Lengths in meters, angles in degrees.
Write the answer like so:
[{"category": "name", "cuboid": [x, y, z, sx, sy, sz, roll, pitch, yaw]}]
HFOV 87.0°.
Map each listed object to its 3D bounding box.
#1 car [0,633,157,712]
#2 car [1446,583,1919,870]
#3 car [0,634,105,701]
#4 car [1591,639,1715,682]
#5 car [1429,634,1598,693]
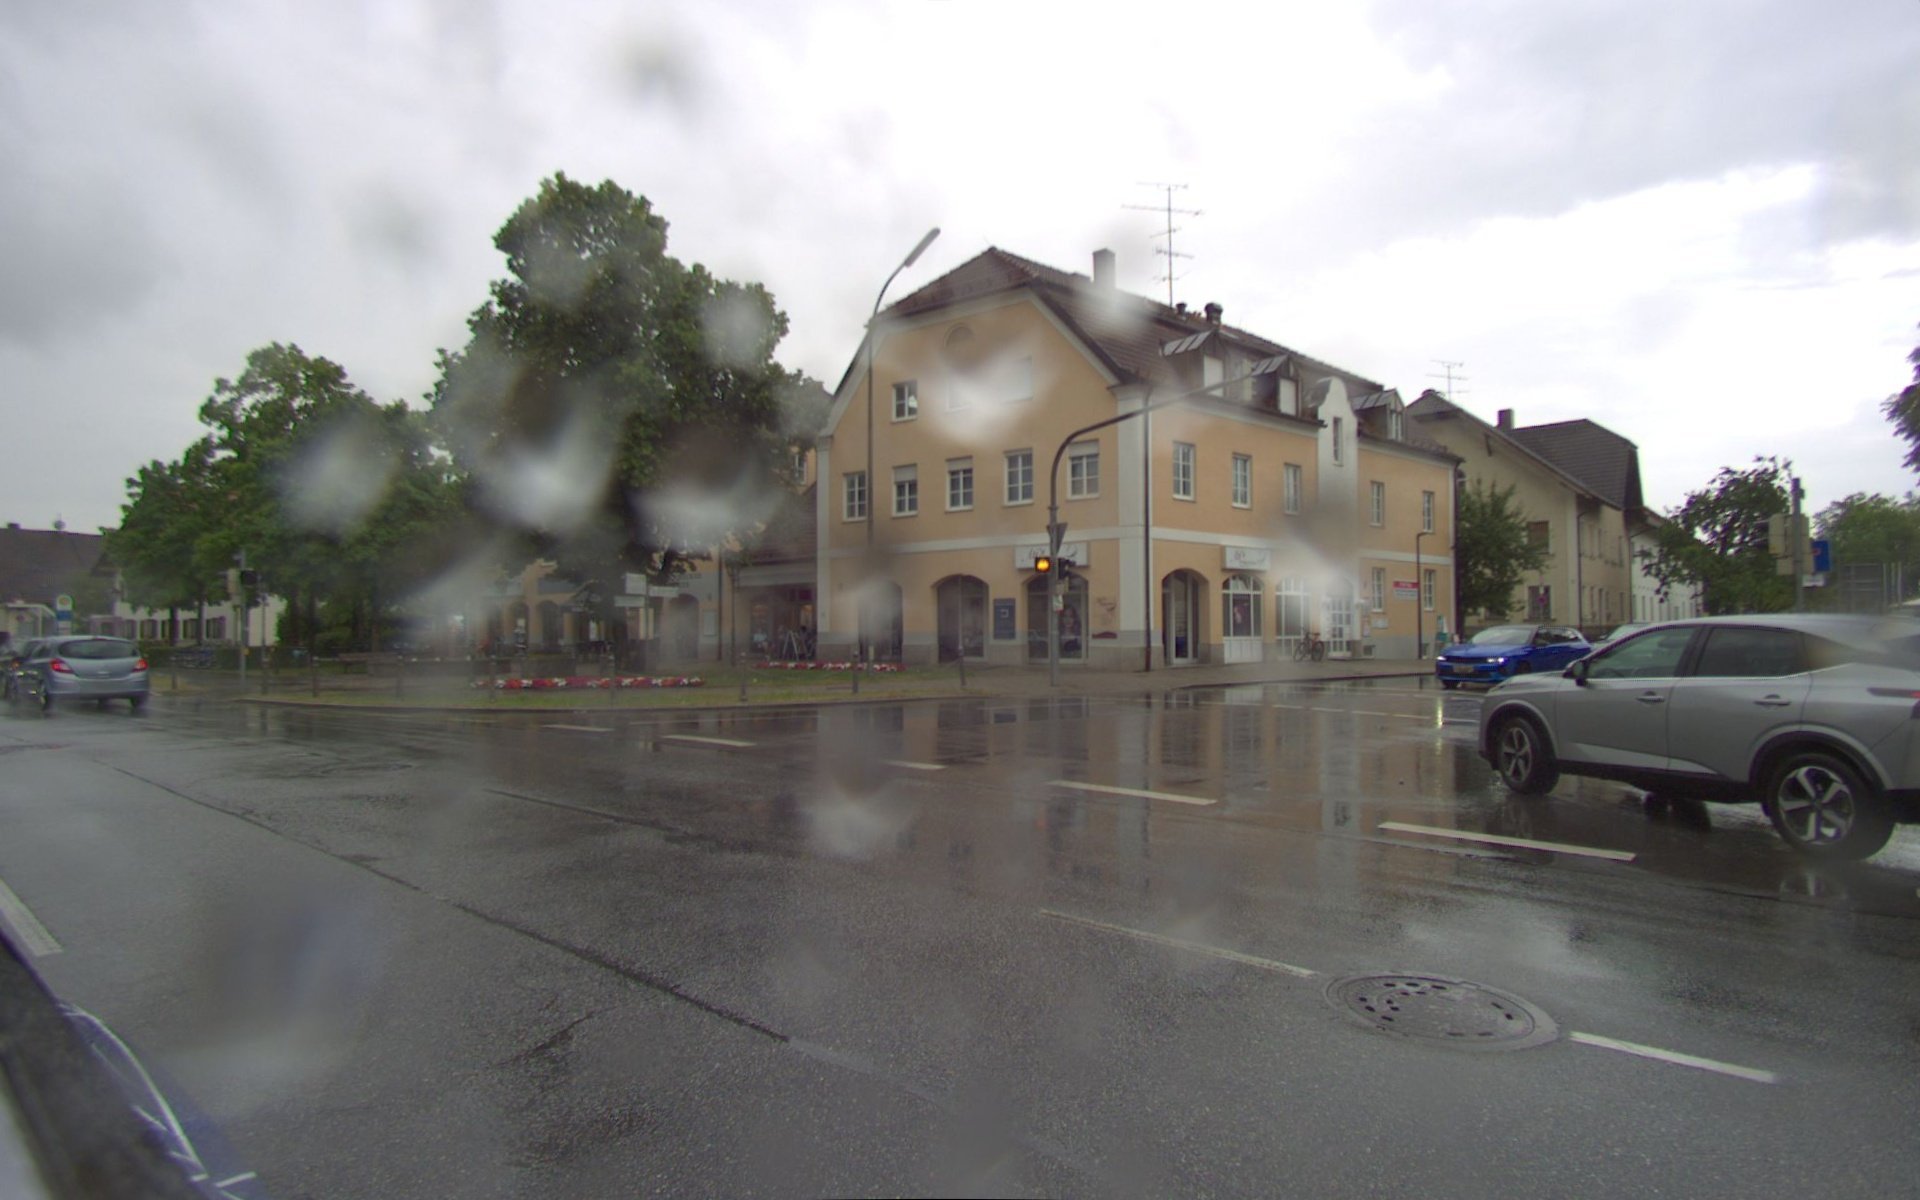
[{"category": "car", "cuboid": [-18.418, 1.422, 20.997, 4.099, 1.466, 1.850, -1, -2, 38]}, {"category": "car", "cuboid": [6.237, 0.822, 7.935, 2.054, 1.686, 4.398, 1, -2, -13]}, {"category": "car", "cuboid": [-22.611, 1.584, 24.719, 4.099, 1.466, 1.850, -1, -2, 38]}, {"category": "car", "cuboid": [18.575, 1.570, 27.074, 4.006, 1.025, 1.427, 1, -2, -35]}, {"category": "car", "cuboid": [12.790, 1.404, 23.297, 4.288, 1.194, 1.693, 1, -2, -35]}]
